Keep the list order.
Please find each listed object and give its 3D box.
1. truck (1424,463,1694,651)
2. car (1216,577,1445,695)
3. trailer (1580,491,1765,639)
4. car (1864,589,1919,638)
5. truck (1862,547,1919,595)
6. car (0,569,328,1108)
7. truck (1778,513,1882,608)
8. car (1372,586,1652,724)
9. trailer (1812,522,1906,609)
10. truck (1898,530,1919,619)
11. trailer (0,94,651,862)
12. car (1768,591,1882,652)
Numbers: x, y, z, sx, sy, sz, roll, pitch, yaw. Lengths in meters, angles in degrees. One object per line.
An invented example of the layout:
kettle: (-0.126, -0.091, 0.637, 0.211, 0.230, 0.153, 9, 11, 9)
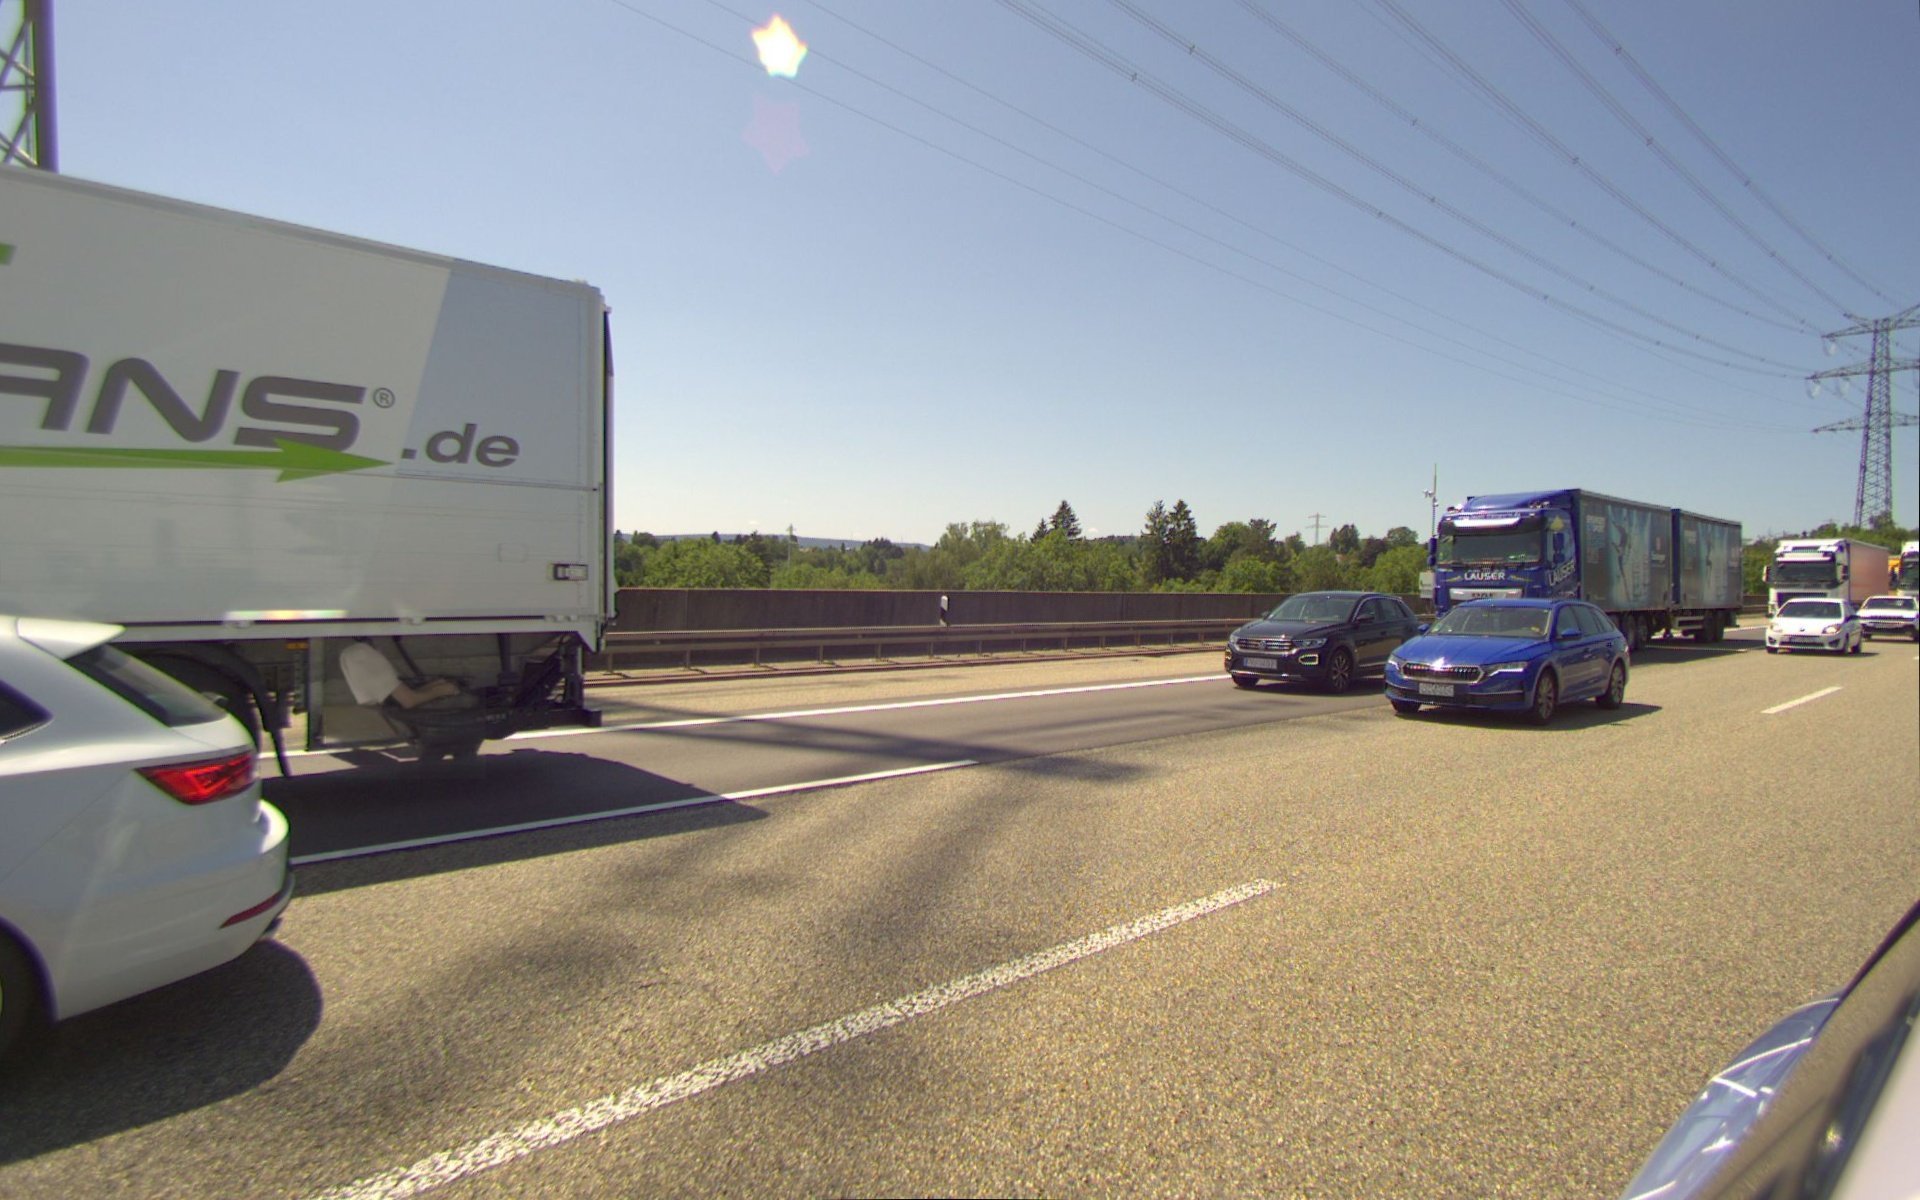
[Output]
truck: (15.715, -0.994, 26.032, 10.212, 3.999, 2.857, -1, 0, -41)
car: (6.030, 0.475, 16.268, 4.046, 1.675, 1.711, -1, 1, -41)
trailer: (22.774, -1.048, 32.134, 8.487, 4.140, 2.833, -1, 0, -41)
car: (31.739, 0.420, 33.856, 4.072, 1.528, 1.711, -1, 1, -41)
truck: (63.287, -1.991, 68.788, 6.139, 3.018, 2.249, -1, 4, -43)
car: (-4.229, 0.647, 2.464, 4.352, 1.470, 1.711, 0, 0, -42)
truck: (40.315, -1.740, 46.793, 8.123, 4.037, 2.605, -1, 0, -42)
car: (7.259, 0.577, 13.102, 4.483, 1.470, 1.711, -1, 1, -41)
trailer: (46.716, -1.712, 52.489, 8.929, 4.169, 2.605, -1, 0, -42)
truck: (45.332, -1.152, 46.045, 8.118, 3.874, 2.848, -1, 0, -40)
trailer: (-6.270, -0.625, 5.940, 8.073, 3.940, 2.903, -1, 0, -42)
car: (23.003, 0.506, 26.876, 4.072, 1.470, 1.711, -1, 1, -41)
